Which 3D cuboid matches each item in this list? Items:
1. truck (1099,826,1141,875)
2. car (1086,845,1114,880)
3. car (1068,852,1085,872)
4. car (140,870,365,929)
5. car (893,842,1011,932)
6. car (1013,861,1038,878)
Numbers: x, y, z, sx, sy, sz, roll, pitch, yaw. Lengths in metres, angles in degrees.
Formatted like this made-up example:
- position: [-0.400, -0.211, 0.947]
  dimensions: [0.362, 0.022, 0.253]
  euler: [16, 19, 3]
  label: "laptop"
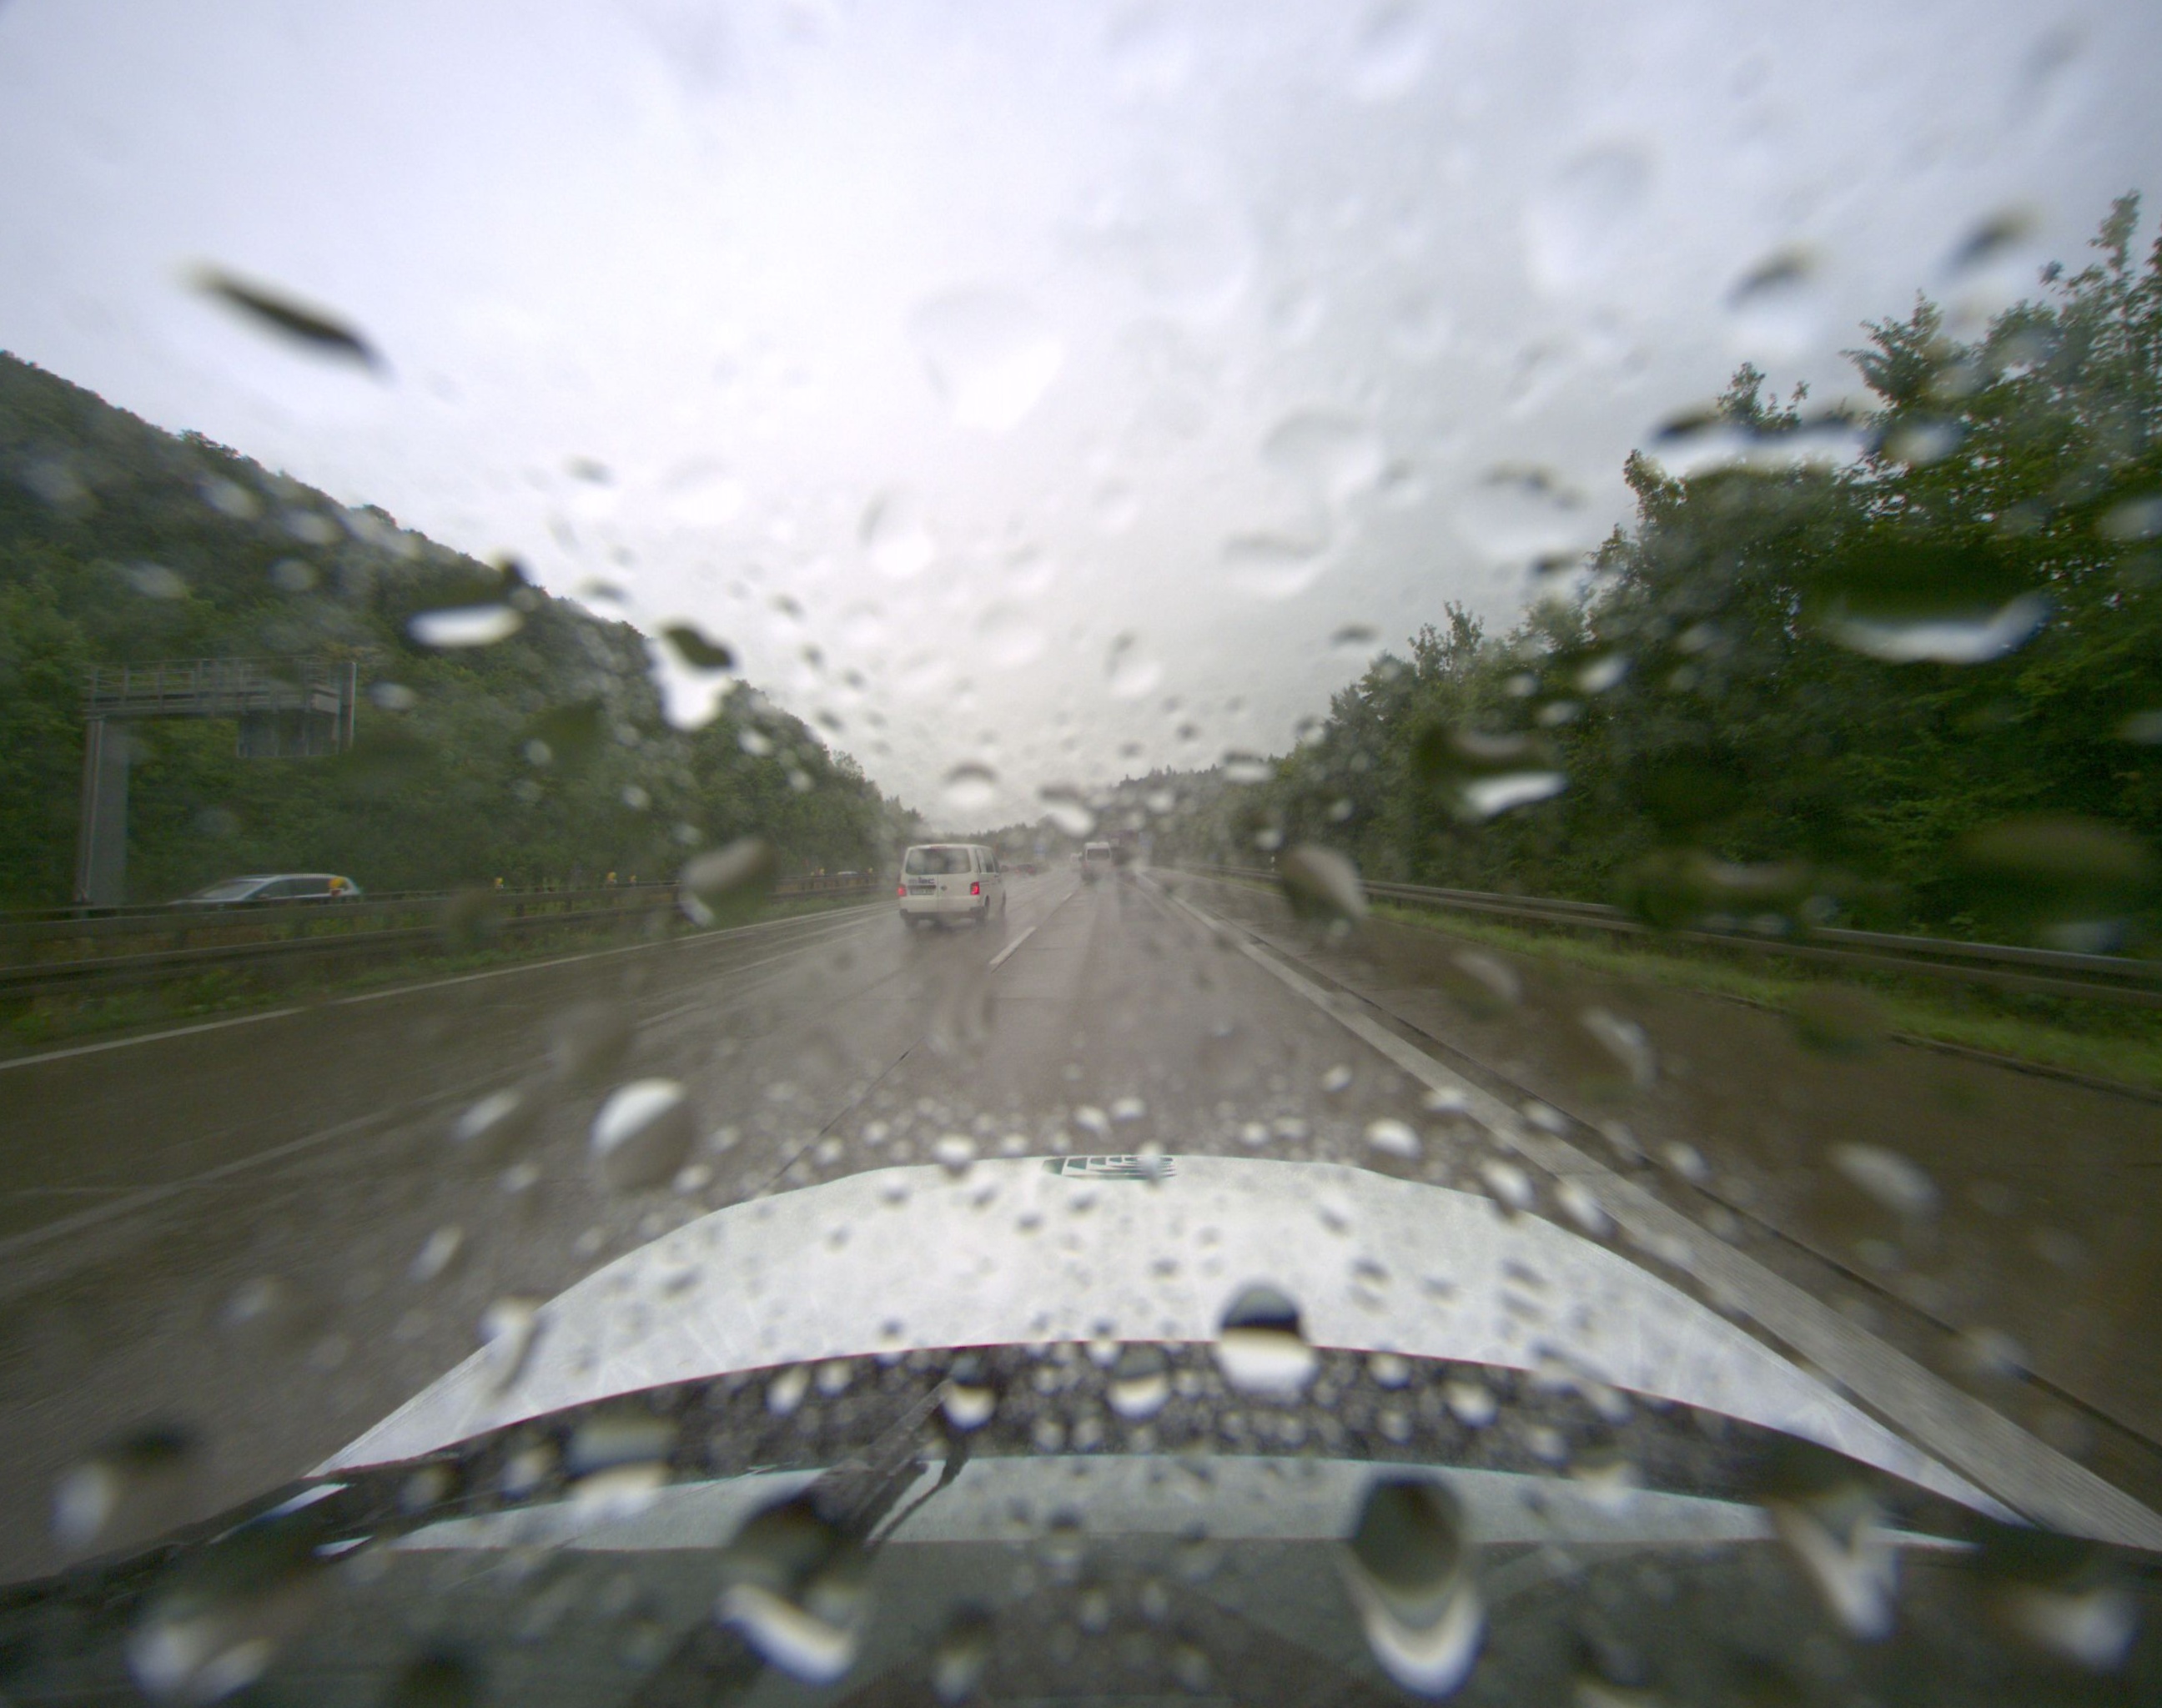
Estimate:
- position: [3.457, -0.423, 74.159]
  dimensions: [3.373, 3.967, 8.670]
  euler: [-4, 1, 1]
  label: "truck"
- position: [1.326, 0.622, 57.940]
  dimensions: [1.893, 2.334, 5.250]
  euler: [1, -1, 1]
  label: "car"
- position: [-0.544, 0.978, 99.892]
  dimensions: [1.991, 2.432, 5.790]
  euler: [1, -1, 1]
  label: "car"
- position: [-23.274, 1.207, 23.181]
  dimensions: [1.660, 1.434, 4.520]
  euler: [-1, -1, 2]
  label: "car"
- position: [-2.974, 0.729, 19.905]
  dimensions: [1.892, 1.894, 5.045]
  euler: [-1, -1, 2]
  label: "car"
- position: [-4.594, 1.304, 68.143]
  dimensions: [1.735, 1.388, 4.321]
  euler: [-1, -1, 0]
  label: "car"
